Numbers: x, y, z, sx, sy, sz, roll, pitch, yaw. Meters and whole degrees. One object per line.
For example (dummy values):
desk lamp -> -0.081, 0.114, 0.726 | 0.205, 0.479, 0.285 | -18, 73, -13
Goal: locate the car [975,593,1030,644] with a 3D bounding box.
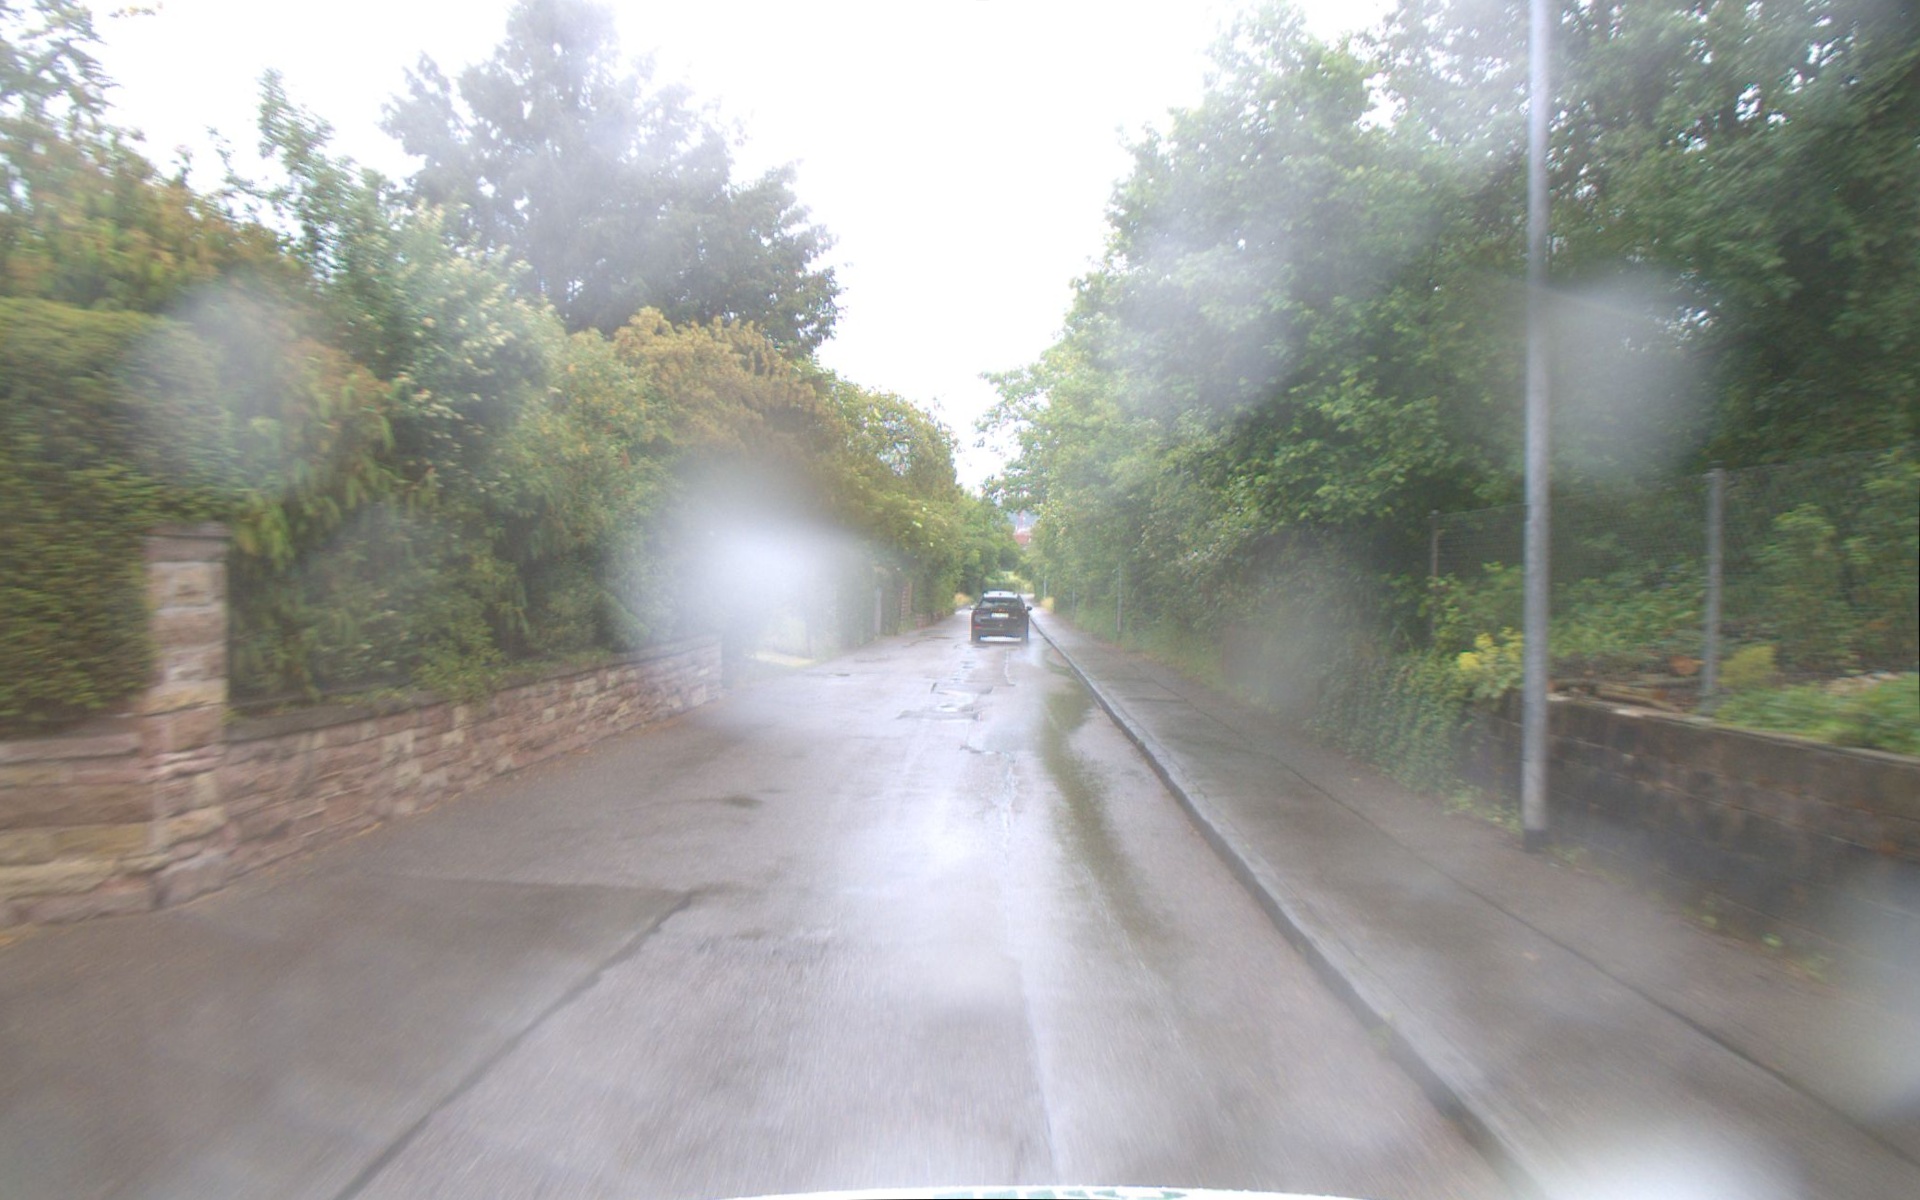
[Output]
car -> 1.305, 0.562, 50.183 | 1.601, 1.475, 3.545 | 1, -1, 2

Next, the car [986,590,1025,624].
car -> 2.036, 0.316, 72.567 | 1.600, 1.439, 3.546 | 1, -1, 3
